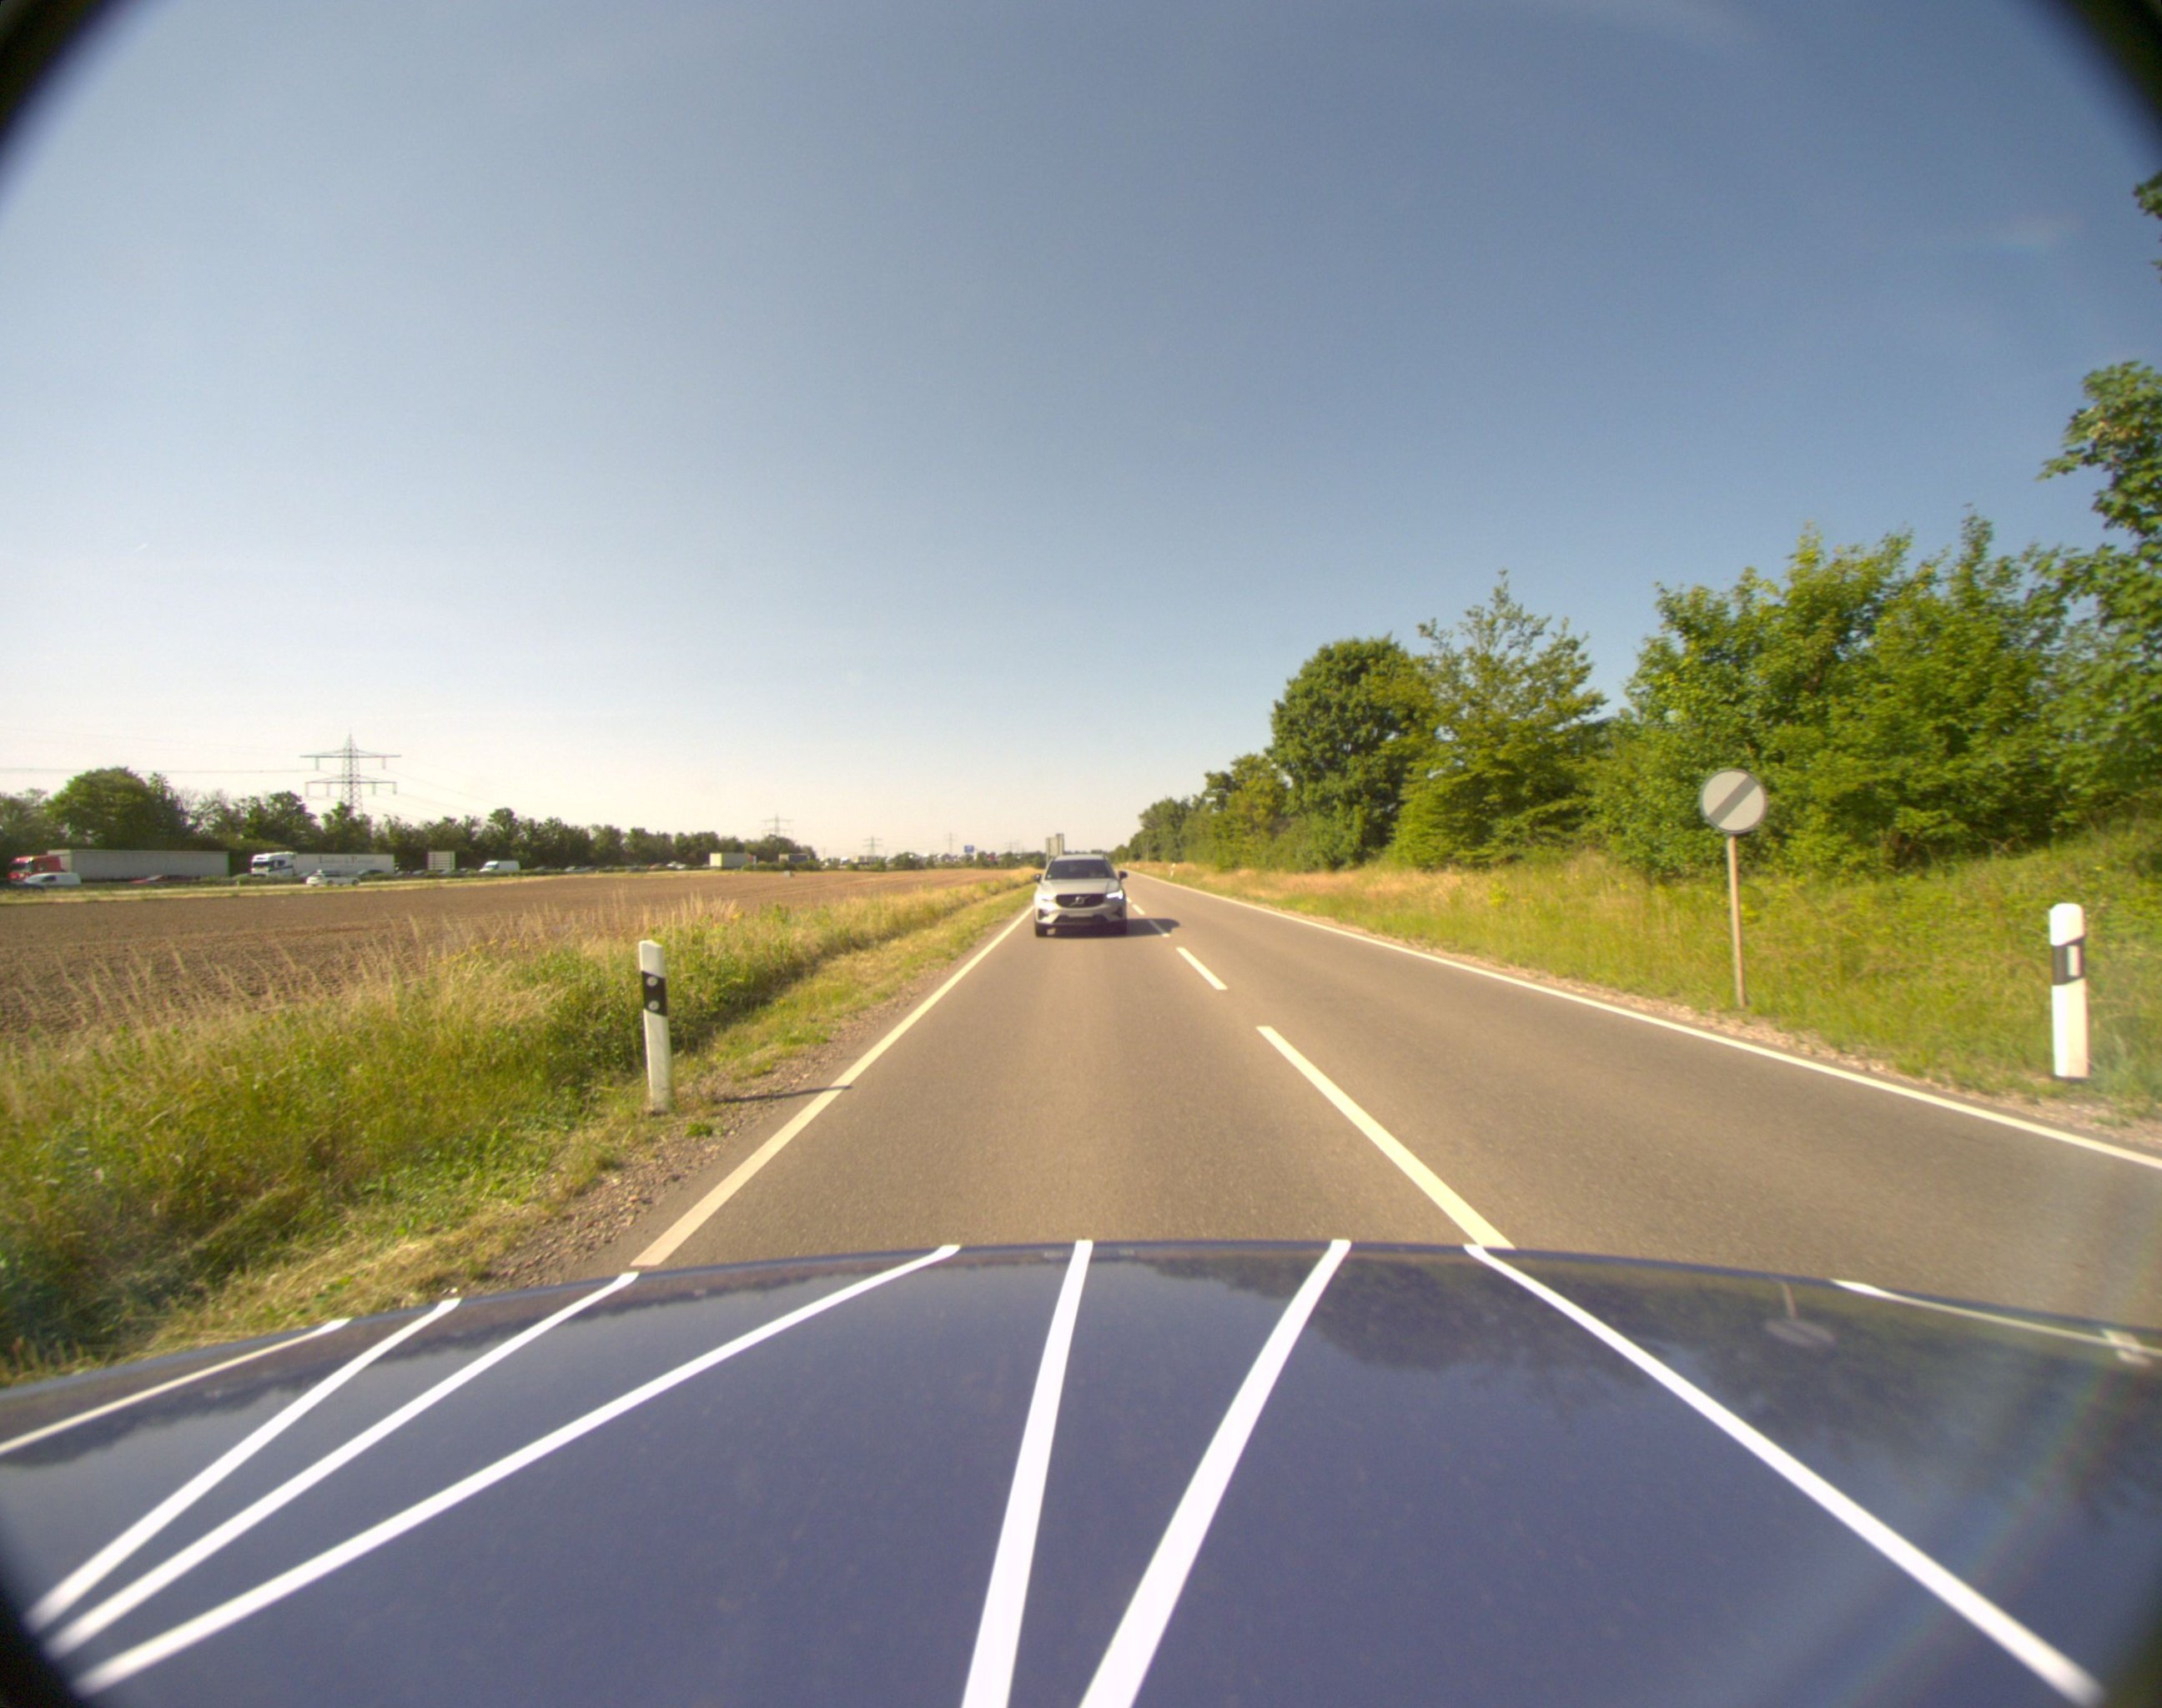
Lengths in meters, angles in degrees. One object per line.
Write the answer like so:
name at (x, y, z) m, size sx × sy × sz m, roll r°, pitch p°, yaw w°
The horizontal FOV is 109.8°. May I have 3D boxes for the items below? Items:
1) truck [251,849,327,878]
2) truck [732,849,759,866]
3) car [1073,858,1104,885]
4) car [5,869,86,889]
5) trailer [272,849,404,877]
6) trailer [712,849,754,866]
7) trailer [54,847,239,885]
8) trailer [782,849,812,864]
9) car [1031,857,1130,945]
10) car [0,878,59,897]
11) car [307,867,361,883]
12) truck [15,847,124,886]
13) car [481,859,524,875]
truck at (-100.623, 1.176, 96.690) m, size 3.210 × 3.510 × 6.109 m, roll 0°, pitch 0°, yaw 0°
truck at (-80.673, 0.831, 182.974) m, size 3.111 × 3.826 × 6.951 m, roll -2°, pitch 0°, yaw 1°
car at (0.506, 1.068, 48.456) m, size 1.840 × 1.627 × 4.135 m, roll -2°, pitch 0°, yaw 0°
car at (-94.771, 2.255, 69.621) m, size 1.707 × 1.629 × 4.094 m, roll -3°, pitch 0°, yaw 0°
trailer at (-100.582, 1.189, 103.512) m, size 3.210 × 3.510 × 15.083 m, roll 0°, pitch 0°, yaw 0°
trailer at (-80.808, 0.820, 176.750) m, size 3.111 × 3.826 × 13.720 m, roll -2°, pitch 0°, yaw 1°
trailer at (-100.969, 1.189, 82.771) m, size 2.953 × 3.711 × 13.783 m, roll -1°, pitch 0°, yaw 1°
trailer at (-79.332, 0.850, 212.675) m, size 3.080 × 3.779 × 14.593 m, roll -2°, pitch -1°, yaw -1°
car at (0.034, 0.902, 16.546) m, size 1.840 × 1.627 × 4.136 m, roll -2°, pitch 0°, yaw 1°
car at (-86.914, 2.776, 61.857) m, size 1.707 × 1.365 × 4.094 m, roll -3°, pitch 0°, yaw 1°
car at (-82.571, 2.318, 84.068) m, size 1.707 × 1.534 × 4.197 m, roll -3°, pitch 0°, yaw 1°
truck at (-101.063, 1.179, 76.080) m, size 2.953 × 3.711 × 5.870 m, roll -1°, pitch 0°, yaw 1°
car at (-95.170, 2.044, 125.067) m, size 2.042 × 2.432 × 6.414 m, roll -2°, pitch 0°, yaw 1°
